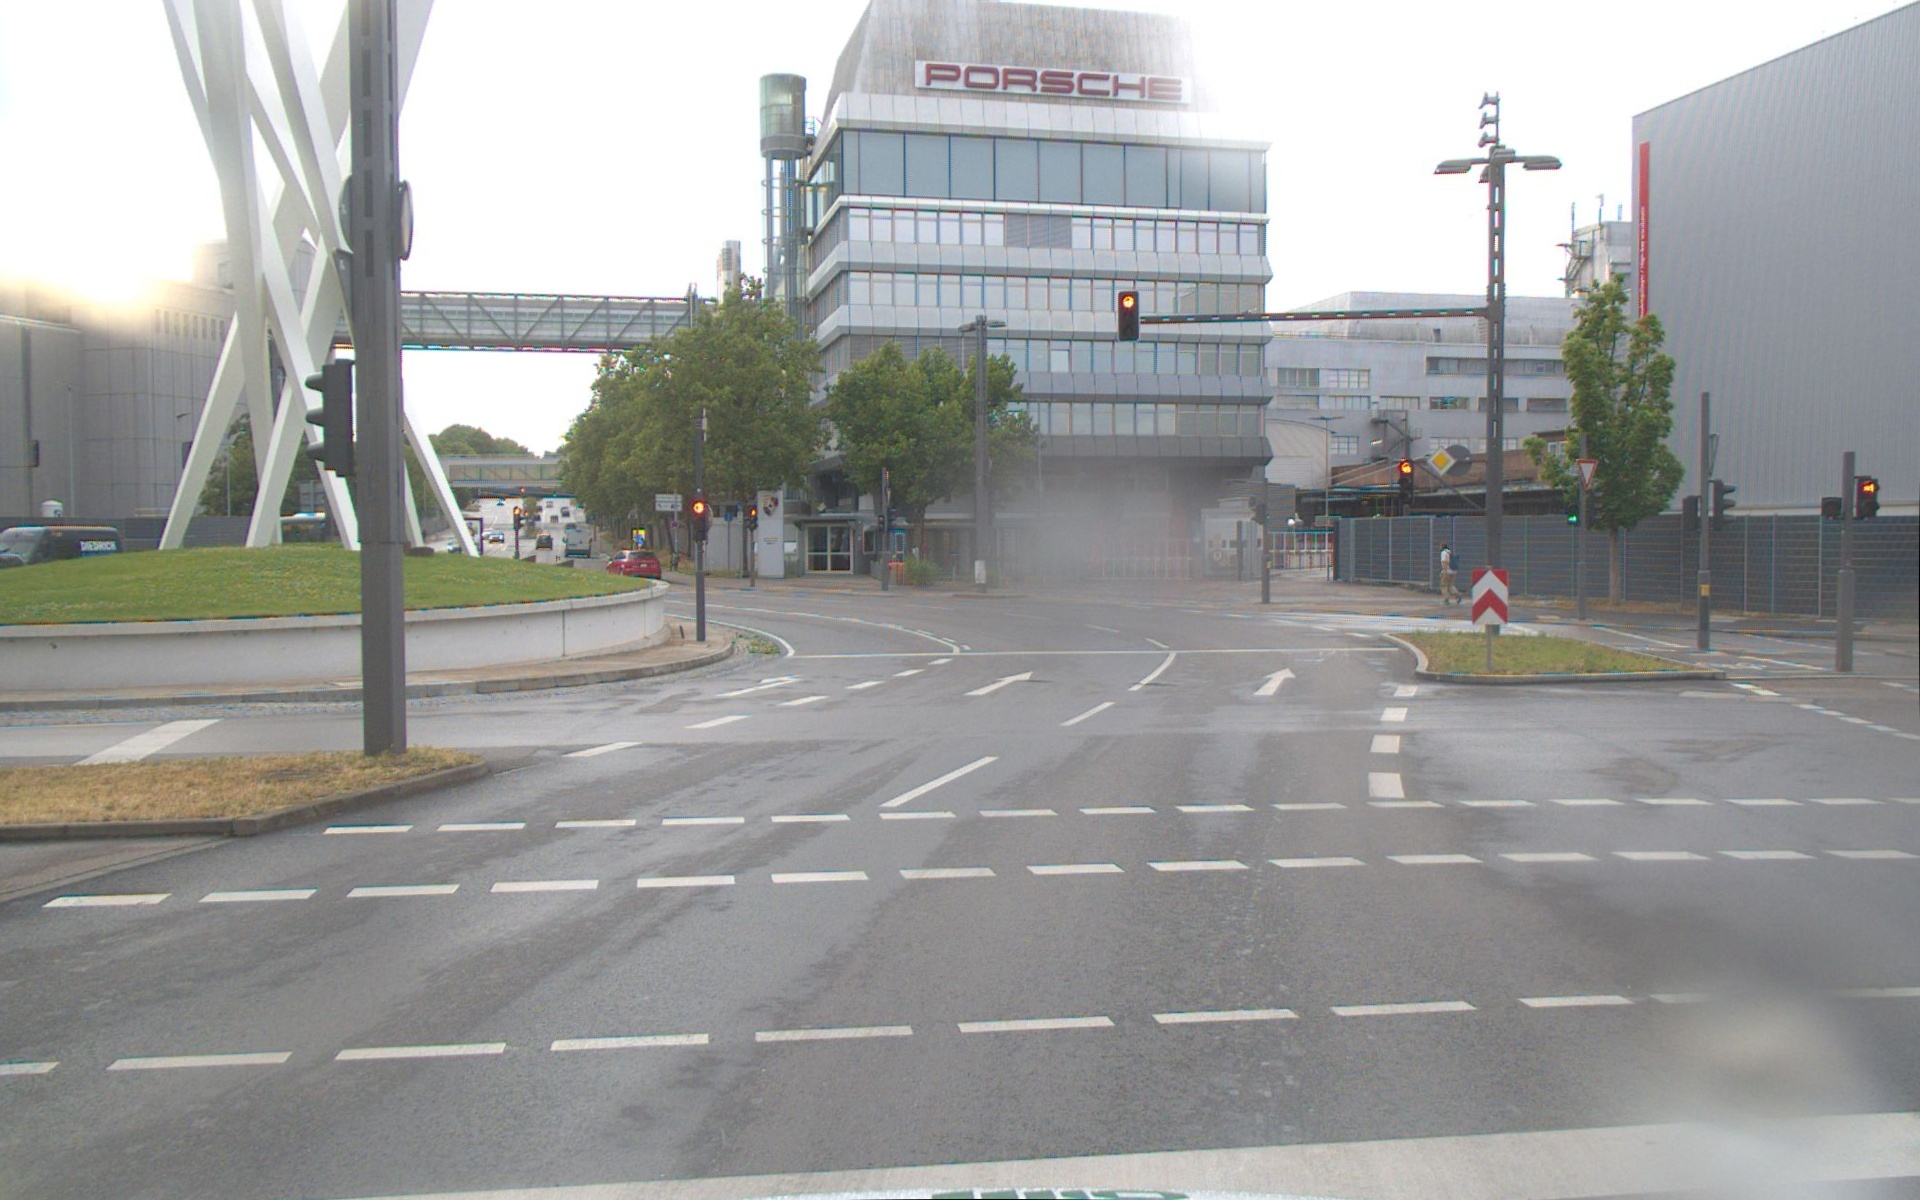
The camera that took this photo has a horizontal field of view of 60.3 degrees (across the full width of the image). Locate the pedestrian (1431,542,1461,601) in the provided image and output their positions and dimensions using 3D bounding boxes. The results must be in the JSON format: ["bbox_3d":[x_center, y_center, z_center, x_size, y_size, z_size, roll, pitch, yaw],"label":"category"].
[{"bbox_3d":[13.558,-0.790,46.173,0.791,1.639,0.770,-1,-1,16],"label":"pedestrian"}]

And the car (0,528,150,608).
[{"bbox_3d":[-33.640,-1.193,63.158,1.926,2.869,7.128,0,1,0],"label":"car"}]

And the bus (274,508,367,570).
[{"bbox_3d":[-36.531,-3.391,95.021,2.620,3.256,12.638,0,1,-10],"label":"bus"}]

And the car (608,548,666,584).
[{"bbox_3d":[-14.219,-1.489,72.706,1.749,1.490,3.704,0,0,-24],"label":"car"}]

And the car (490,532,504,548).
[{"bbox_3d":[-56.316,-7.266,201.094,1.600,1.848,3.718,0,1,-15],"label":"car"}]

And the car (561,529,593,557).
[{"bbox_3d":[-31.514,-4.656,136.038,2.198,2.144,4.928,0,-1,-18],"label":"car"}]

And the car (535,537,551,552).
[{"bbox_3d":[-42.308,-5.619,167.723,1.531,1.311,3.400,0,0,-15],"label":"car"}]
